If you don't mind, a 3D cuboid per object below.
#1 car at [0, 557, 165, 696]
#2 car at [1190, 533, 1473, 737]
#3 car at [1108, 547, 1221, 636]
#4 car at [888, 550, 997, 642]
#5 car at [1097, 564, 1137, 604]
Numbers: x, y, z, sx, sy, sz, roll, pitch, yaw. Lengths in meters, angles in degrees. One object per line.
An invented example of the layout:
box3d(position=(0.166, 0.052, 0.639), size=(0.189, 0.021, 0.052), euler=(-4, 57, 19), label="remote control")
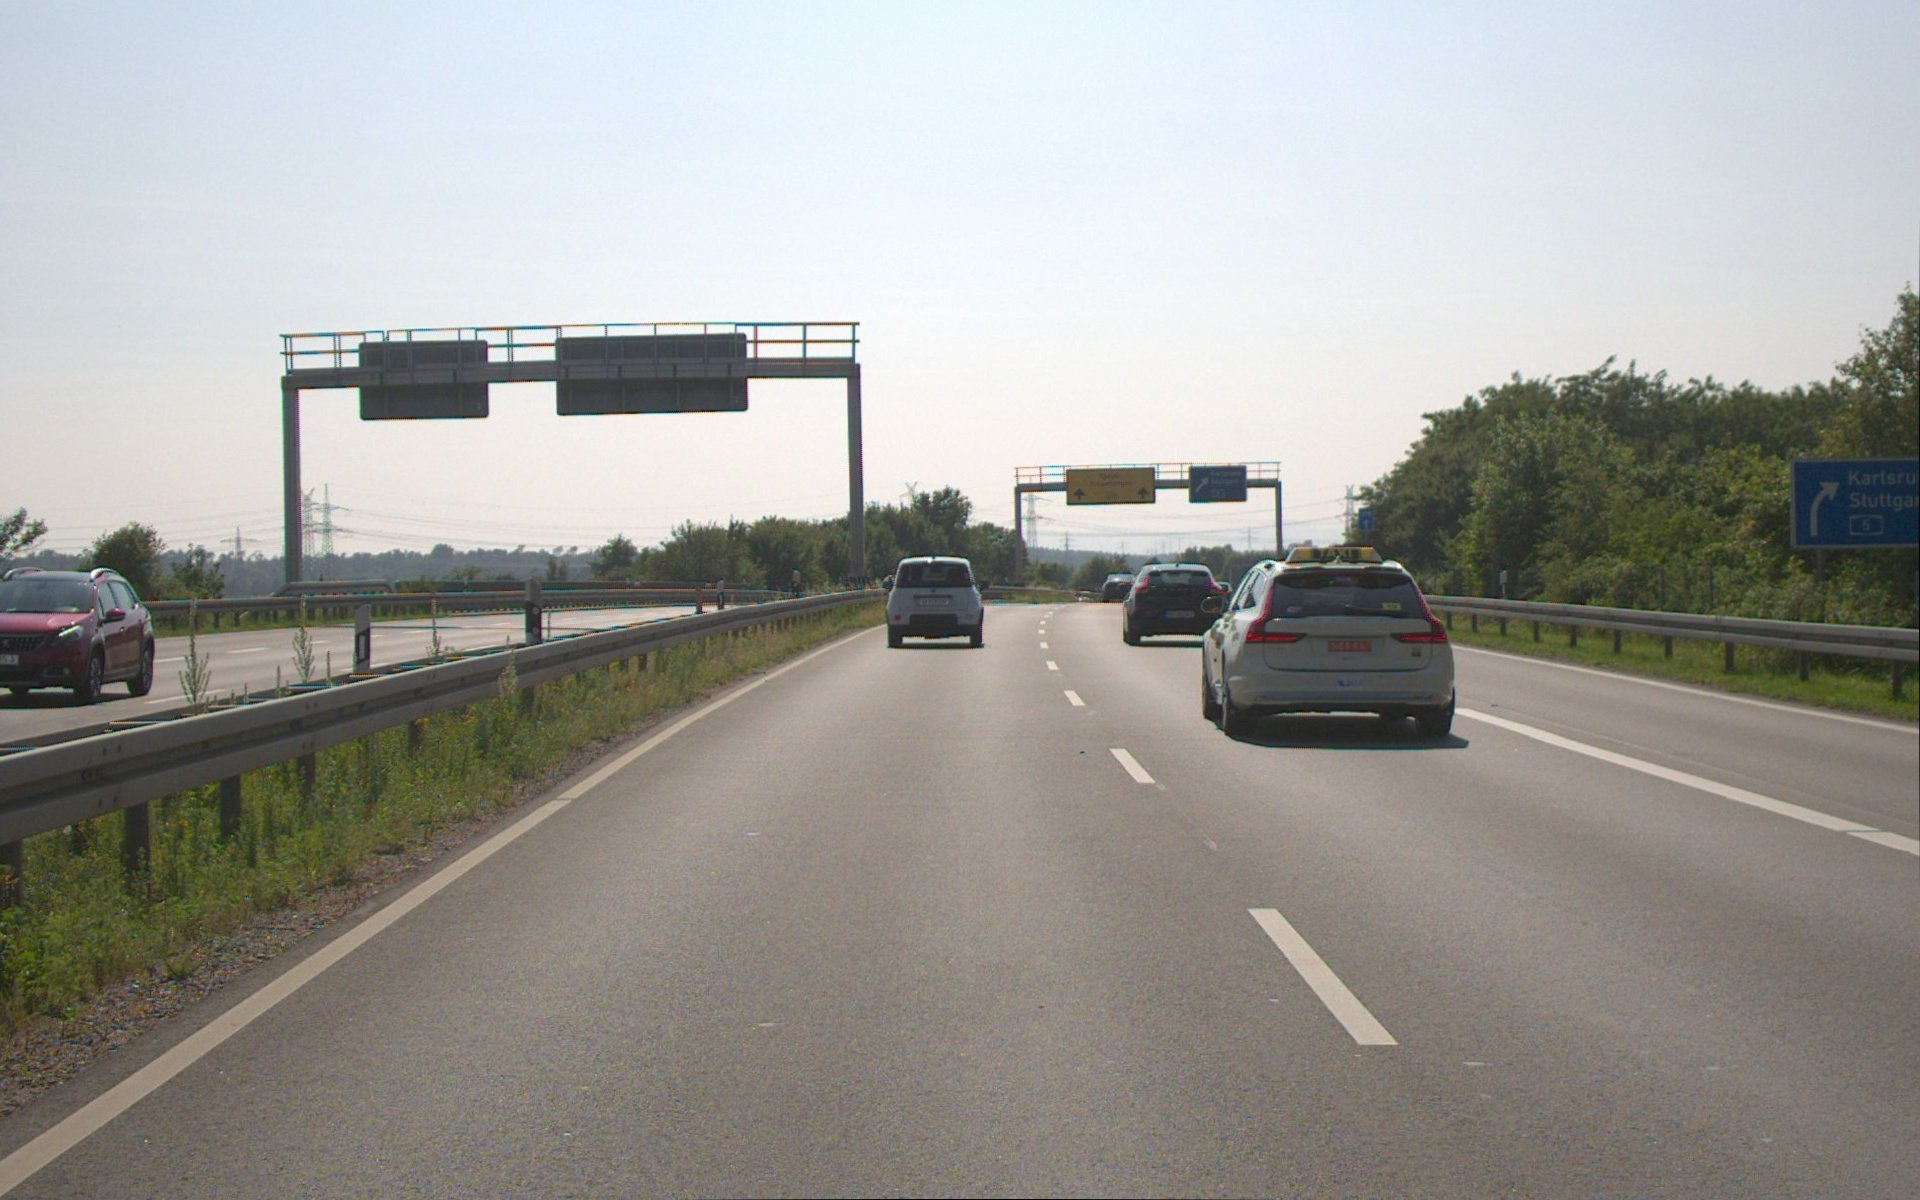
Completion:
box3d(position=(-10.797, 0.276, 41.150), size=(1.642, 1.569, 4.265), euler=(1, 1, -1), label="car")
box3d(position=(3.091, 0.253, 29.379), size=(1.958, 1.596, 4.107), euler=(1, 1, 0), label="car")
box3d(position=(3.609, -0.139, 61.285), size=(1.793, 1.538, 3.671), euler=(0, 0, 0), label="car")
box3d(position=(-0.293, -0.055, 60.088), size=(1.793, 1.498, 4.043), euler=(-1, 0, 0), label="car")
box3d(position=(8.080, -0.847, 177.230), size=(1.993, 2.007, 4.000), euler=(1, 1, 2), label="car")
